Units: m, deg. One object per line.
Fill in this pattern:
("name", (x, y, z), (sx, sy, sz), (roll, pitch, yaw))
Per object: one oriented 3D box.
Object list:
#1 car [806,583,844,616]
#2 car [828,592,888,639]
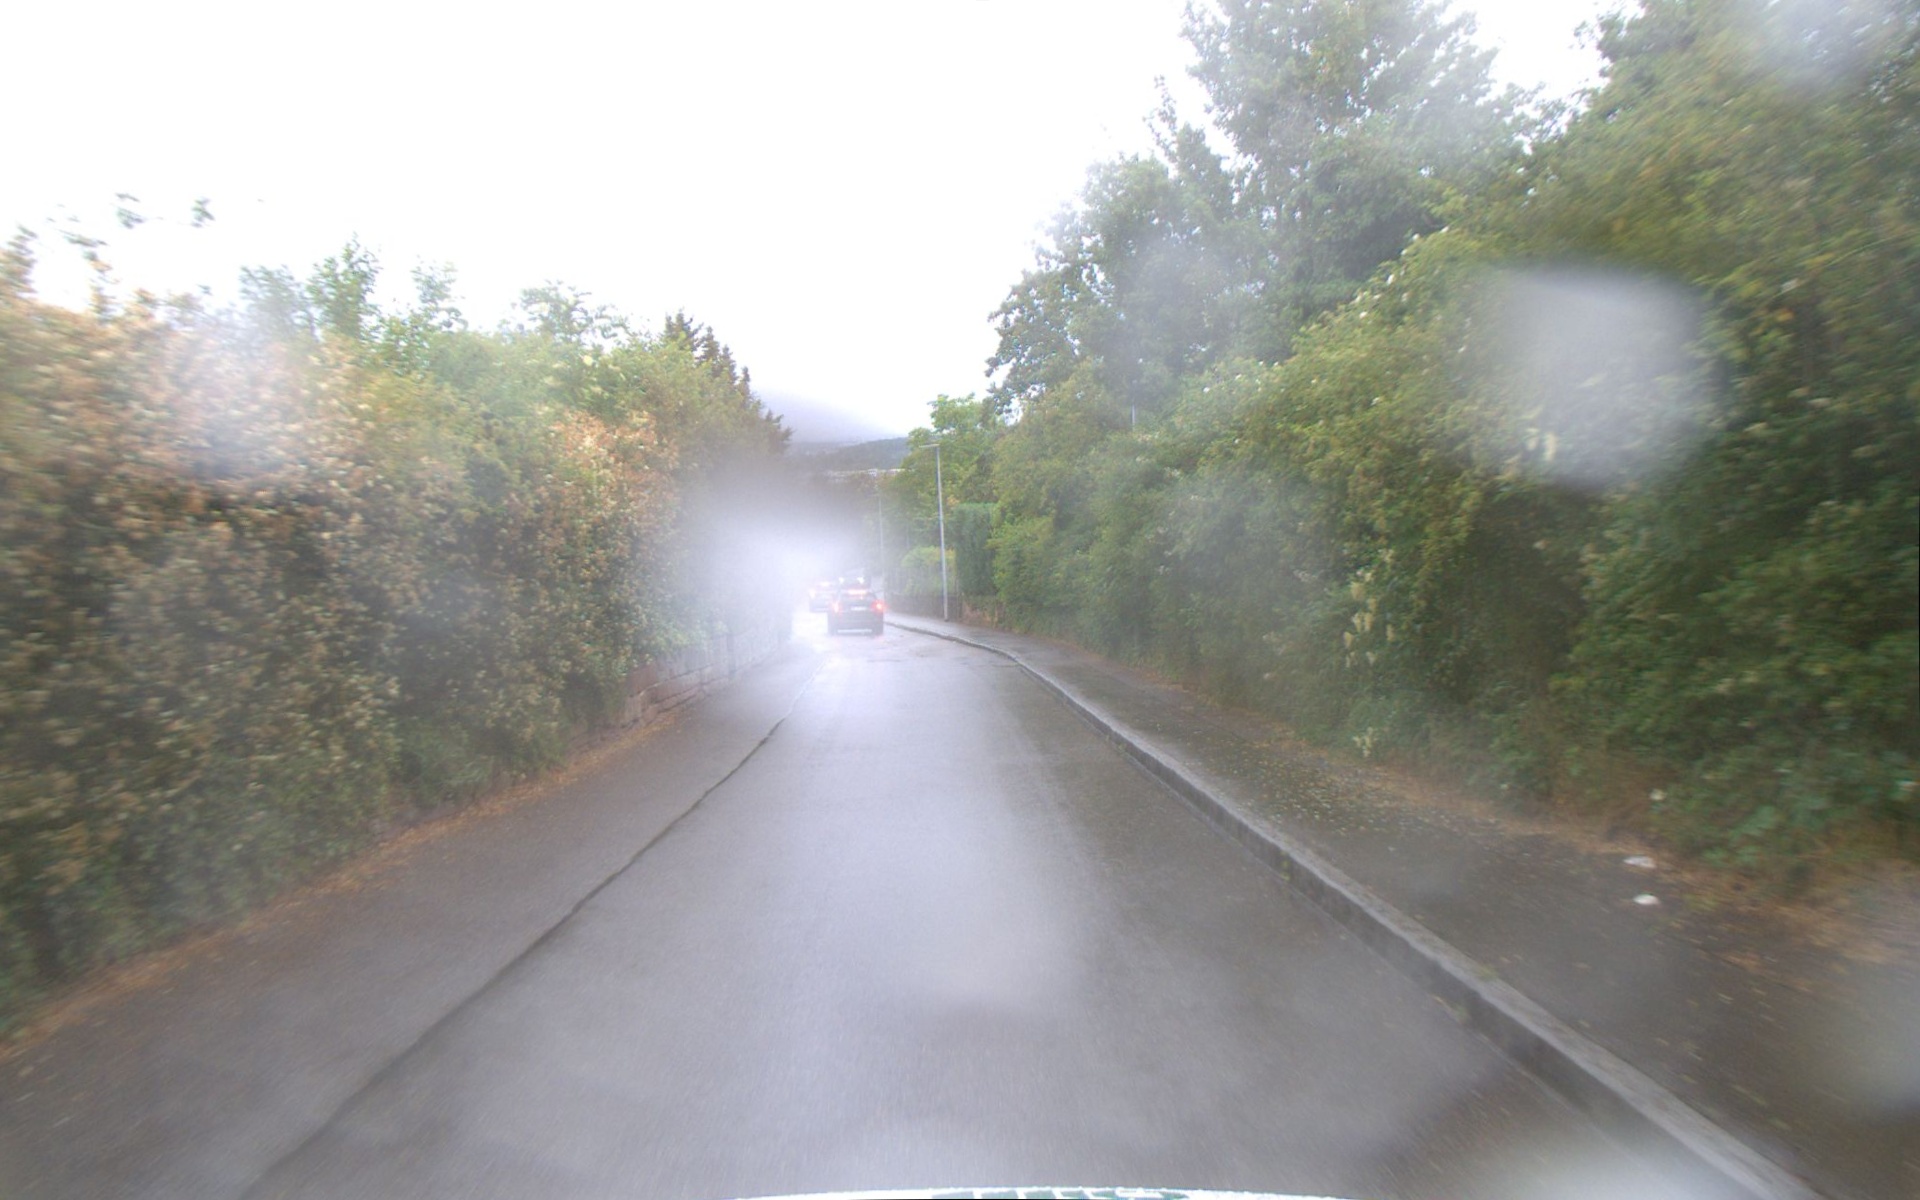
("car", (-7.276, -0.039, 89.339), (1.643, 1.592, 3.795), (0, 2, 1))
("car", (-3.439, 0.494, 55.161), (1.800, 1.489, 3.995), (0, 0, -6))
